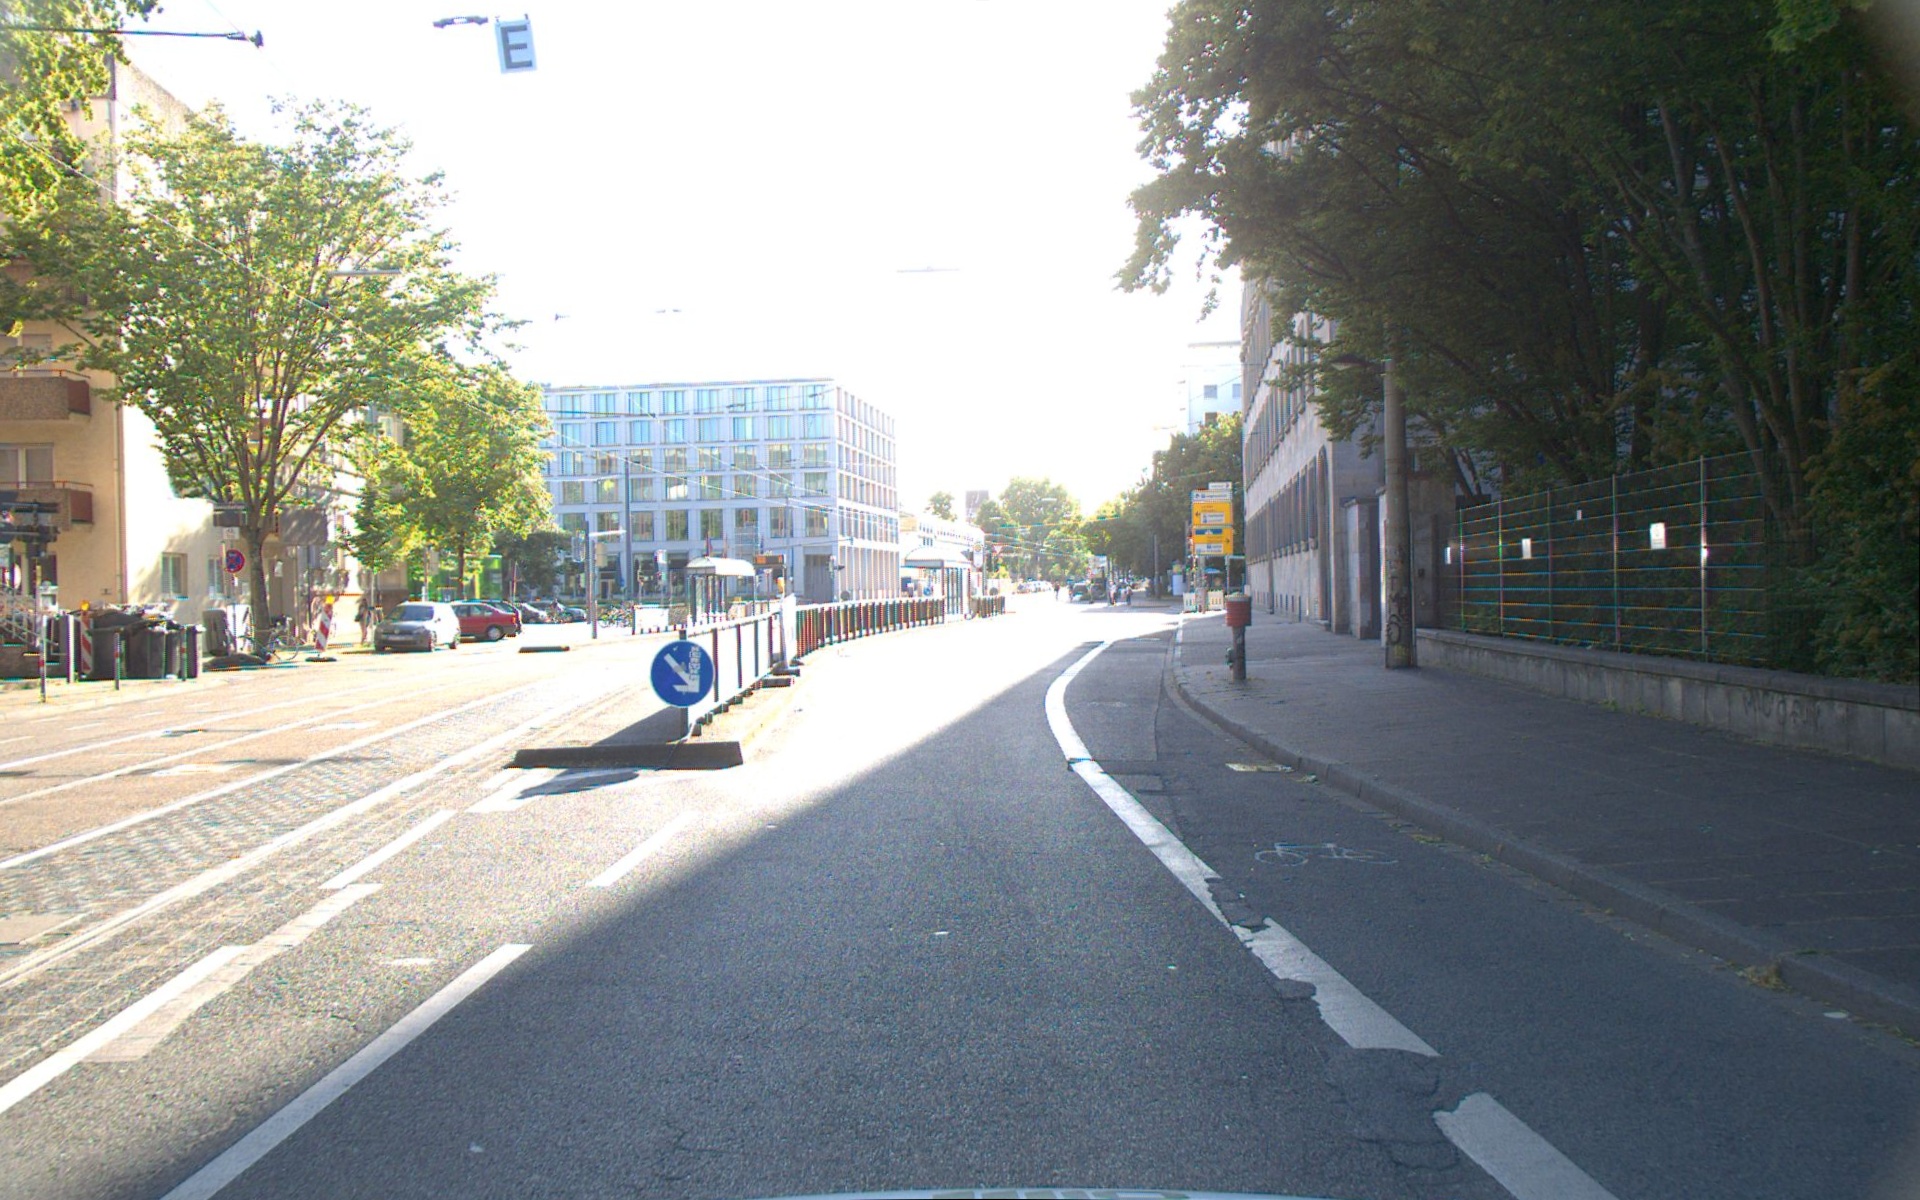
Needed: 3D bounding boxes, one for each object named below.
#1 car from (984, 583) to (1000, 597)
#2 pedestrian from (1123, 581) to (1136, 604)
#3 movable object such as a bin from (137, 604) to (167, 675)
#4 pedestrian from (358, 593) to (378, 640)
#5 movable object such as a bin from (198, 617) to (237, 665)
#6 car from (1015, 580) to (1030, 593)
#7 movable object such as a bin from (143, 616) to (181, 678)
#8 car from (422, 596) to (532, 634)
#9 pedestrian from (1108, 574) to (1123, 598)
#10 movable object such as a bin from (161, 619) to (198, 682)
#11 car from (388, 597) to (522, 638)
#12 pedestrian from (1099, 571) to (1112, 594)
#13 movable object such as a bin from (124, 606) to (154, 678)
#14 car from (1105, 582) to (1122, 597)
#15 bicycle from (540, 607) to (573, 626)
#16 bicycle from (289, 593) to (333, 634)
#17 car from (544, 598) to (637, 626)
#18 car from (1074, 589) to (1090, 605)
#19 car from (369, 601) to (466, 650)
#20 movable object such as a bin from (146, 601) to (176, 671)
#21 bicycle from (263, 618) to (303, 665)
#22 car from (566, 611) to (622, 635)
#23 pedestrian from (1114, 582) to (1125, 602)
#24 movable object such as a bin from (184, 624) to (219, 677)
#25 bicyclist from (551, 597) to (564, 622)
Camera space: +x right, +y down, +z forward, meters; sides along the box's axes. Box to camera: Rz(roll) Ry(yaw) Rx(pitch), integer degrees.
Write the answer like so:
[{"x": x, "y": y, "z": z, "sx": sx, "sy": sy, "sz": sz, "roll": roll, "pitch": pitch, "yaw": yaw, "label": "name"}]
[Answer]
[{"x": 4.283, "y": -1.372, "z": 220.770, "sx": 1.781, "sy": 1.742, "sz": 3.809, "roll": -2, "pitch": 0, "yaw": 8, "label": "car"}, {"x": 13.475, "y": -0.572, "z": 131.215, "sx": 0.832, "sy": 1.815, "sz": 0.778, "roll": -2, "pitch": 0, "yaw": -8, "label": "pedestrian"}, {"x": -16.768, "y": 0.810, "z": 34.316, "sx": 0.371, "sy": 1.451, "sz": 0.386, "roll": -1, "pitch": 0, "yaw": 7, "label": "movable object such as a bin"}, {"x": -21.521, "y": 0.591, "z": 60.094, "sx": 0.500, "sy": 1.700, "sz": 0.490, "roll": -1, "pitch": 0, "yaw": 0, "label": "pedestrian"}, {"x": -18.449, "y": 1.006, "z": 41.097, "sx": 0.416, "sy": 1.146, "sz": 1.147, "roll": -1, "pitch": 0, "yaw": 1, "label": "movable object such as a bin"}, {"x": 9.181, "y": -1.992, "z": 243.099, "sx": 1.781, "sy": 1.742, "sz": 3.809, "roll": -2, "pitch": 0, "yaw": 8, "label": "car"}, {"x": -16.118, "y": 0.946, "z": 33.406, "sx": 0.371, "sy": 1.224, "sz": 0.640, "roll": -1, "pitch": 0, "yaw": 7, "label": "movable object such as a bin"}, {"x": -21.083, "y": 0.650, "z": 72.204, "sx": 4.443, "sy": 1.597, "sz": 1.577, "roll": 0, "pitch": -1, "yaw": -25, "label": "car"}, {"x": 12.211, "y": -1.112, "z": 129.977, "sx": 0.948, "sy": 1.815, "sz": 0.778, "roll": -2, "pitch": 0, "yaw": -8, "label": "pedestrian"}, {"x": -16.091, "y": 1.044, "z": 34.117, "sx": 0.371, "sy": 1.263, "sz": 0.640, "roll": -1, "pitch": 0, "yaw": 7, "label": "movable object such as a bin"}, {"x": -18.670, "y": 0.643, "z": 61.206, "sx": 4.456, "sy": 1.450, "sz": 1.853, "roll": 0, "pitch": -1, "yaw": -32, "label": "car"}, {"x": 11.623, "y": -1.373, "z": 132.084, "sx": 0.832, "sy": 1.815, "sz": 0.778, "roll": -2, "pitch": 0, "yaw": -8, "label": "pedestrian"}, {"x": -16.815, "y": 0.857, "z": 33.863, "sx": 0.371, "sy": 1.451, "sz": 0.388, "roll": -1, "pitch": 0, "yaw": 7, "label": "movable object such as a bin"}, {"x": 16.491, "y": -1.099, "z": 177.168, "sx": 1.648, "sy": 1.527, "sz": 3.511, "roll": 0, "pitch": 0, "yaw": 8, "label": "car"}, {"x": -26.317, "y": 1.081, "z": 107.977, "sx": 1.882, "sy": 1.142, "sz": 0.791, "roll": -2, "pitch": 0, "yaw": 8, "label": "bicycle"}, {"x": -23.707, "y": 0.480, "z": 60.445, "sx": 0.703, "sy": 1.422, "sz": 3.006, "roll": -1, "pitch": 0, "yaw": -7, "label": "bicycle"}, {"x": -18.992, "y": 0.613, "z": 84.992, "sx": 4.443, "sy": 1.374, "sz": 1.577, "roll": 0, "pitch": -1, "yaw": -25, "label": "car"}, {"x": 13.814, "y": -0.286, "z": 187.520, "sx": 1.648, "sy": 1.768, "sz": 3.511, "roll": 0, "pitch": 0, "yaw": 8, "label": "car"}, {"x": -16.858, "y": 0.768, "z": 51.556, "sx": 1.671, "sy": 1.435, "sz": 4.291, "roll": 0, "pitch": 0, "yaw": -1, "label": "car"}, {"x": -16.770, "y": 0.756, "z": 34.720, "sx": 0.371, "sy": 1.451, "sz": 0.388, "roll": -1, "pitch": 0, "yaw": 7, "label": "movable object such as a bin"}, {"x": -17.113, "y": 1.028, "z": 41.825, "sx": 0.258, "sy": 1.136, "sz": 1.406, "roll": -1, "pitch": 0, "yaw": 7, "label": "bicycle"}, {"x": -25.124, "y": 1.579, "z": 113.527, "sx": 3.455, "sy": 1.532, "sz": 1.523, "roll": -1, "pitch": 0, "yaw": 6, "label": "car"}, {"x": 12.738, "y": -0.609, "z": 132.159, "sx": 0.748, "sy": 1.586, "sz": 0.587, "roll": -2, "pitch": 0, "yaw": -8, "label": "pedestrian"}, {"x": -16.014, "y": 1.058, "z": 34.924, "sx": 0.371, "sy": 1.087, "sz": 0.640, "roll": -1, "pitch": 0, "yaw": 7, "label": "movable object such as a bin"}, {"x": -26.291, "y": 0.638, "z": 107.961, "sx": 0.605, "sy": 1.610, "sz": 0.594, "roll": -2, "pitch": 0, "yaw": 7, "label": "bicyclist"}]
